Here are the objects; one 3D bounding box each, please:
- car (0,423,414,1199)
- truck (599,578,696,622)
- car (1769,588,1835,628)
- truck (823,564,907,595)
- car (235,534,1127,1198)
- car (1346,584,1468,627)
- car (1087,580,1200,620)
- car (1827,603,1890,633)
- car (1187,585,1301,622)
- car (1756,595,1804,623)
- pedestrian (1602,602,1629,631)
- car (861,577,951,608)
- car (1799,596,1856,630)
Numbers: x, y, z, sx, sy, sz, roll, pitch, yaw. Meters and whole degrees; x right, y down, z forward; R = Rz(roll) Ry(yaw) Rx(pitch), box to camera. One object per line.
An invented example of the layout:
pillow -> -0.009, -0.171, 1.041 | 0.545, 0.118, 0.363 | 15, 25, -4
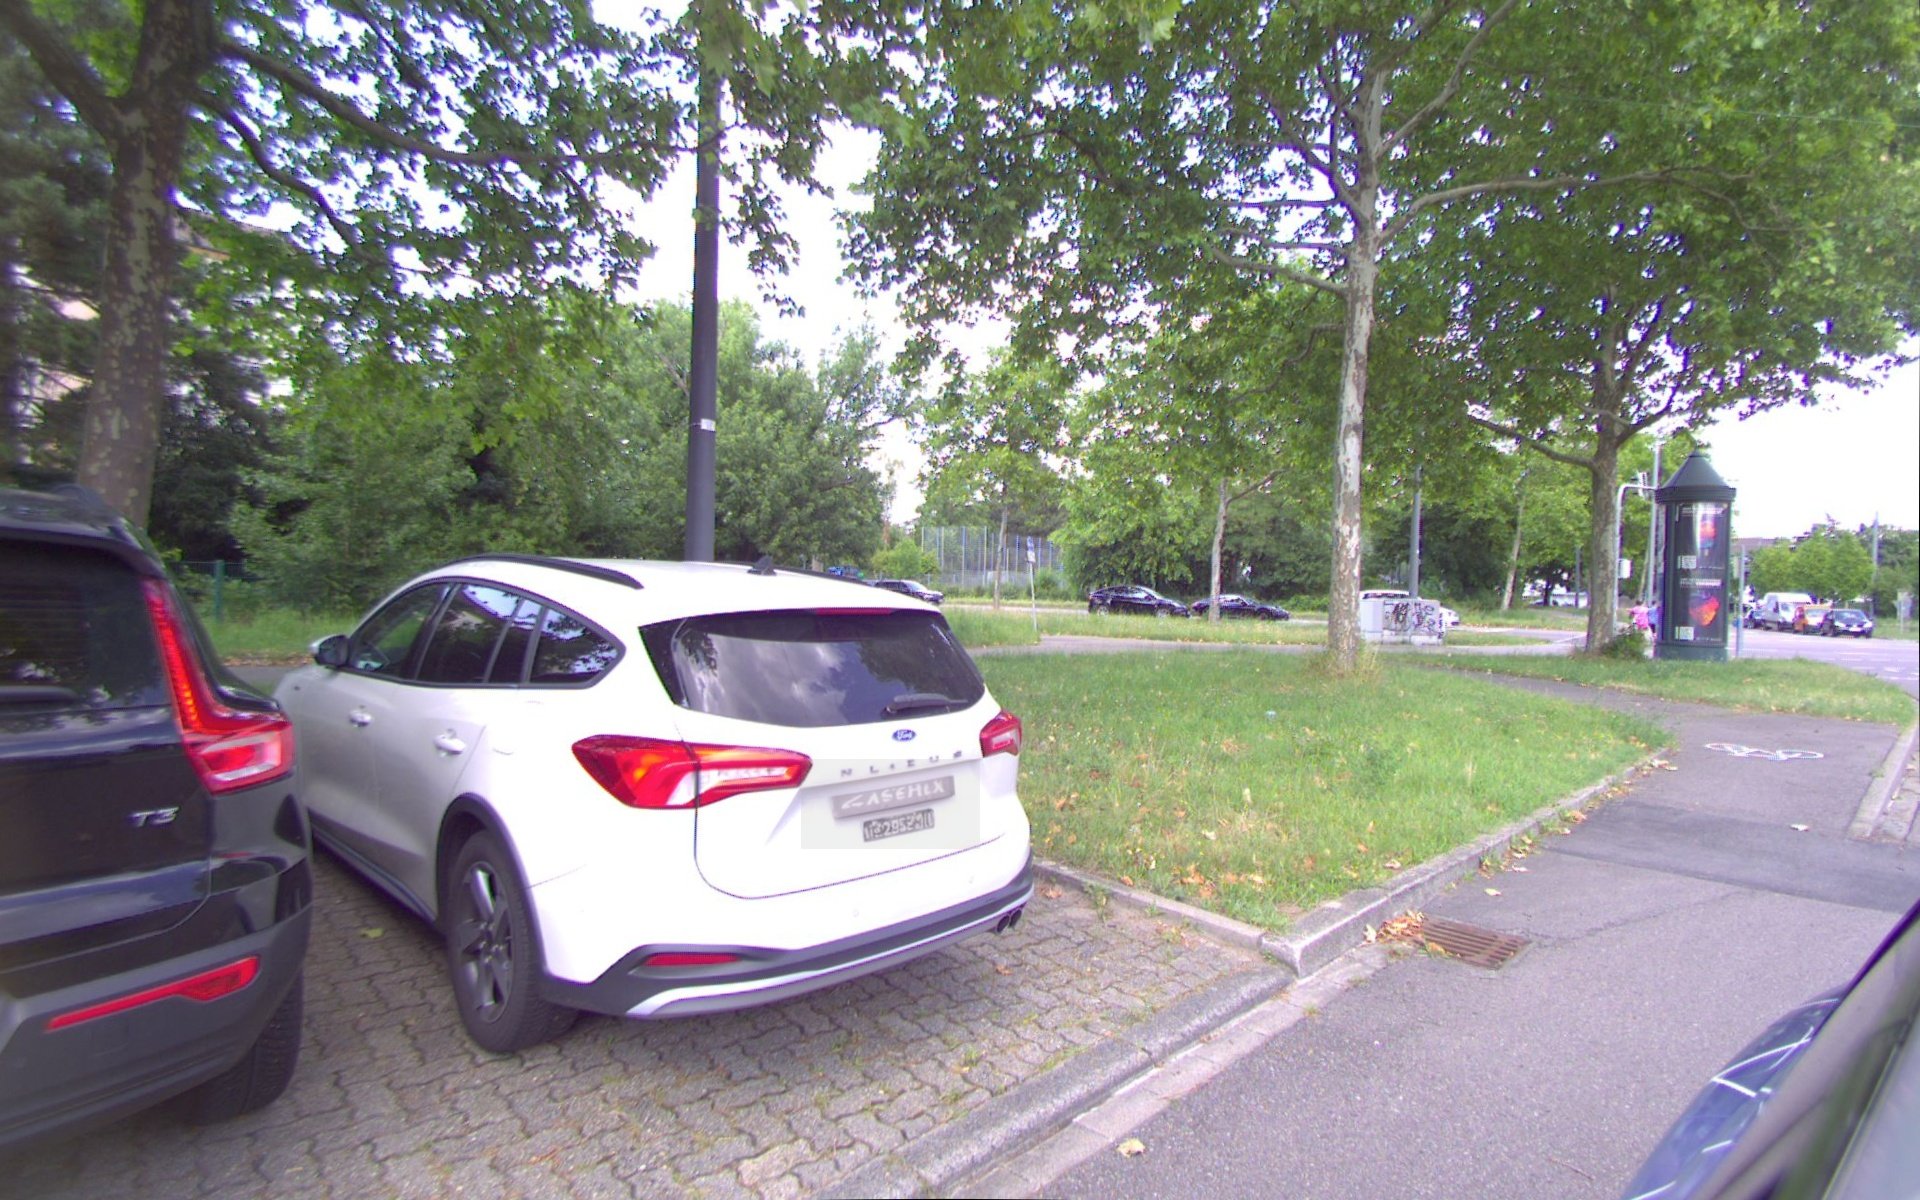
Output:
car -> -3.444, 0.414, 3.119 | 4.661, 1.646, 1.818 | 4, 2, 45
truck -> -20.367, -0.031, 65.900 | 6.452, 2.628, 2.194 | 2, 1, 29
car -> 56.292, 0.474, 67.767 | 2.219, 2.538, 5.670 | 1, 1, 28
truck -> -6.832, -1.456, 72.315 | 5.813, 2.038, 2.266 | 2, 1, 33
car -> -1.711, 0.505, 4.594 | 4.661, 1.492, 1.818 | 4, 2, 45
car -> 19.265, 0.197, 43.637 | 4.644, 1.630, 1.981 | 2, 2, 28
car -> 8.254, -0.043, 45.580 | 4.645, 1.630, 1.980 | 2, 2, 29
car -> 50.328, 0.973, 56.755 | 1.781, 1.558, 3.959 | 1, 1, 29
car -> 13.052, 0.131, 46.560 | 4.706, 1.487, 1.981 | 2, 2, 28
car -> 58.931, 0.605, 72.795 | 1.780, 1.959, 4.326 | 1, 1, 28
pedestrian -> 24.467, 0.606, 37.767 | 0.719, 1.047, 0.889 | 2, 1, 40
car -> -3.020, -0.458, 56.056 | 4.644, 1.532, 1.981 | 2, 2, 28
car -> 53.160, 0.779, 62.093 | 1.780, 1.959, 4.325 | 1, 1, 29
